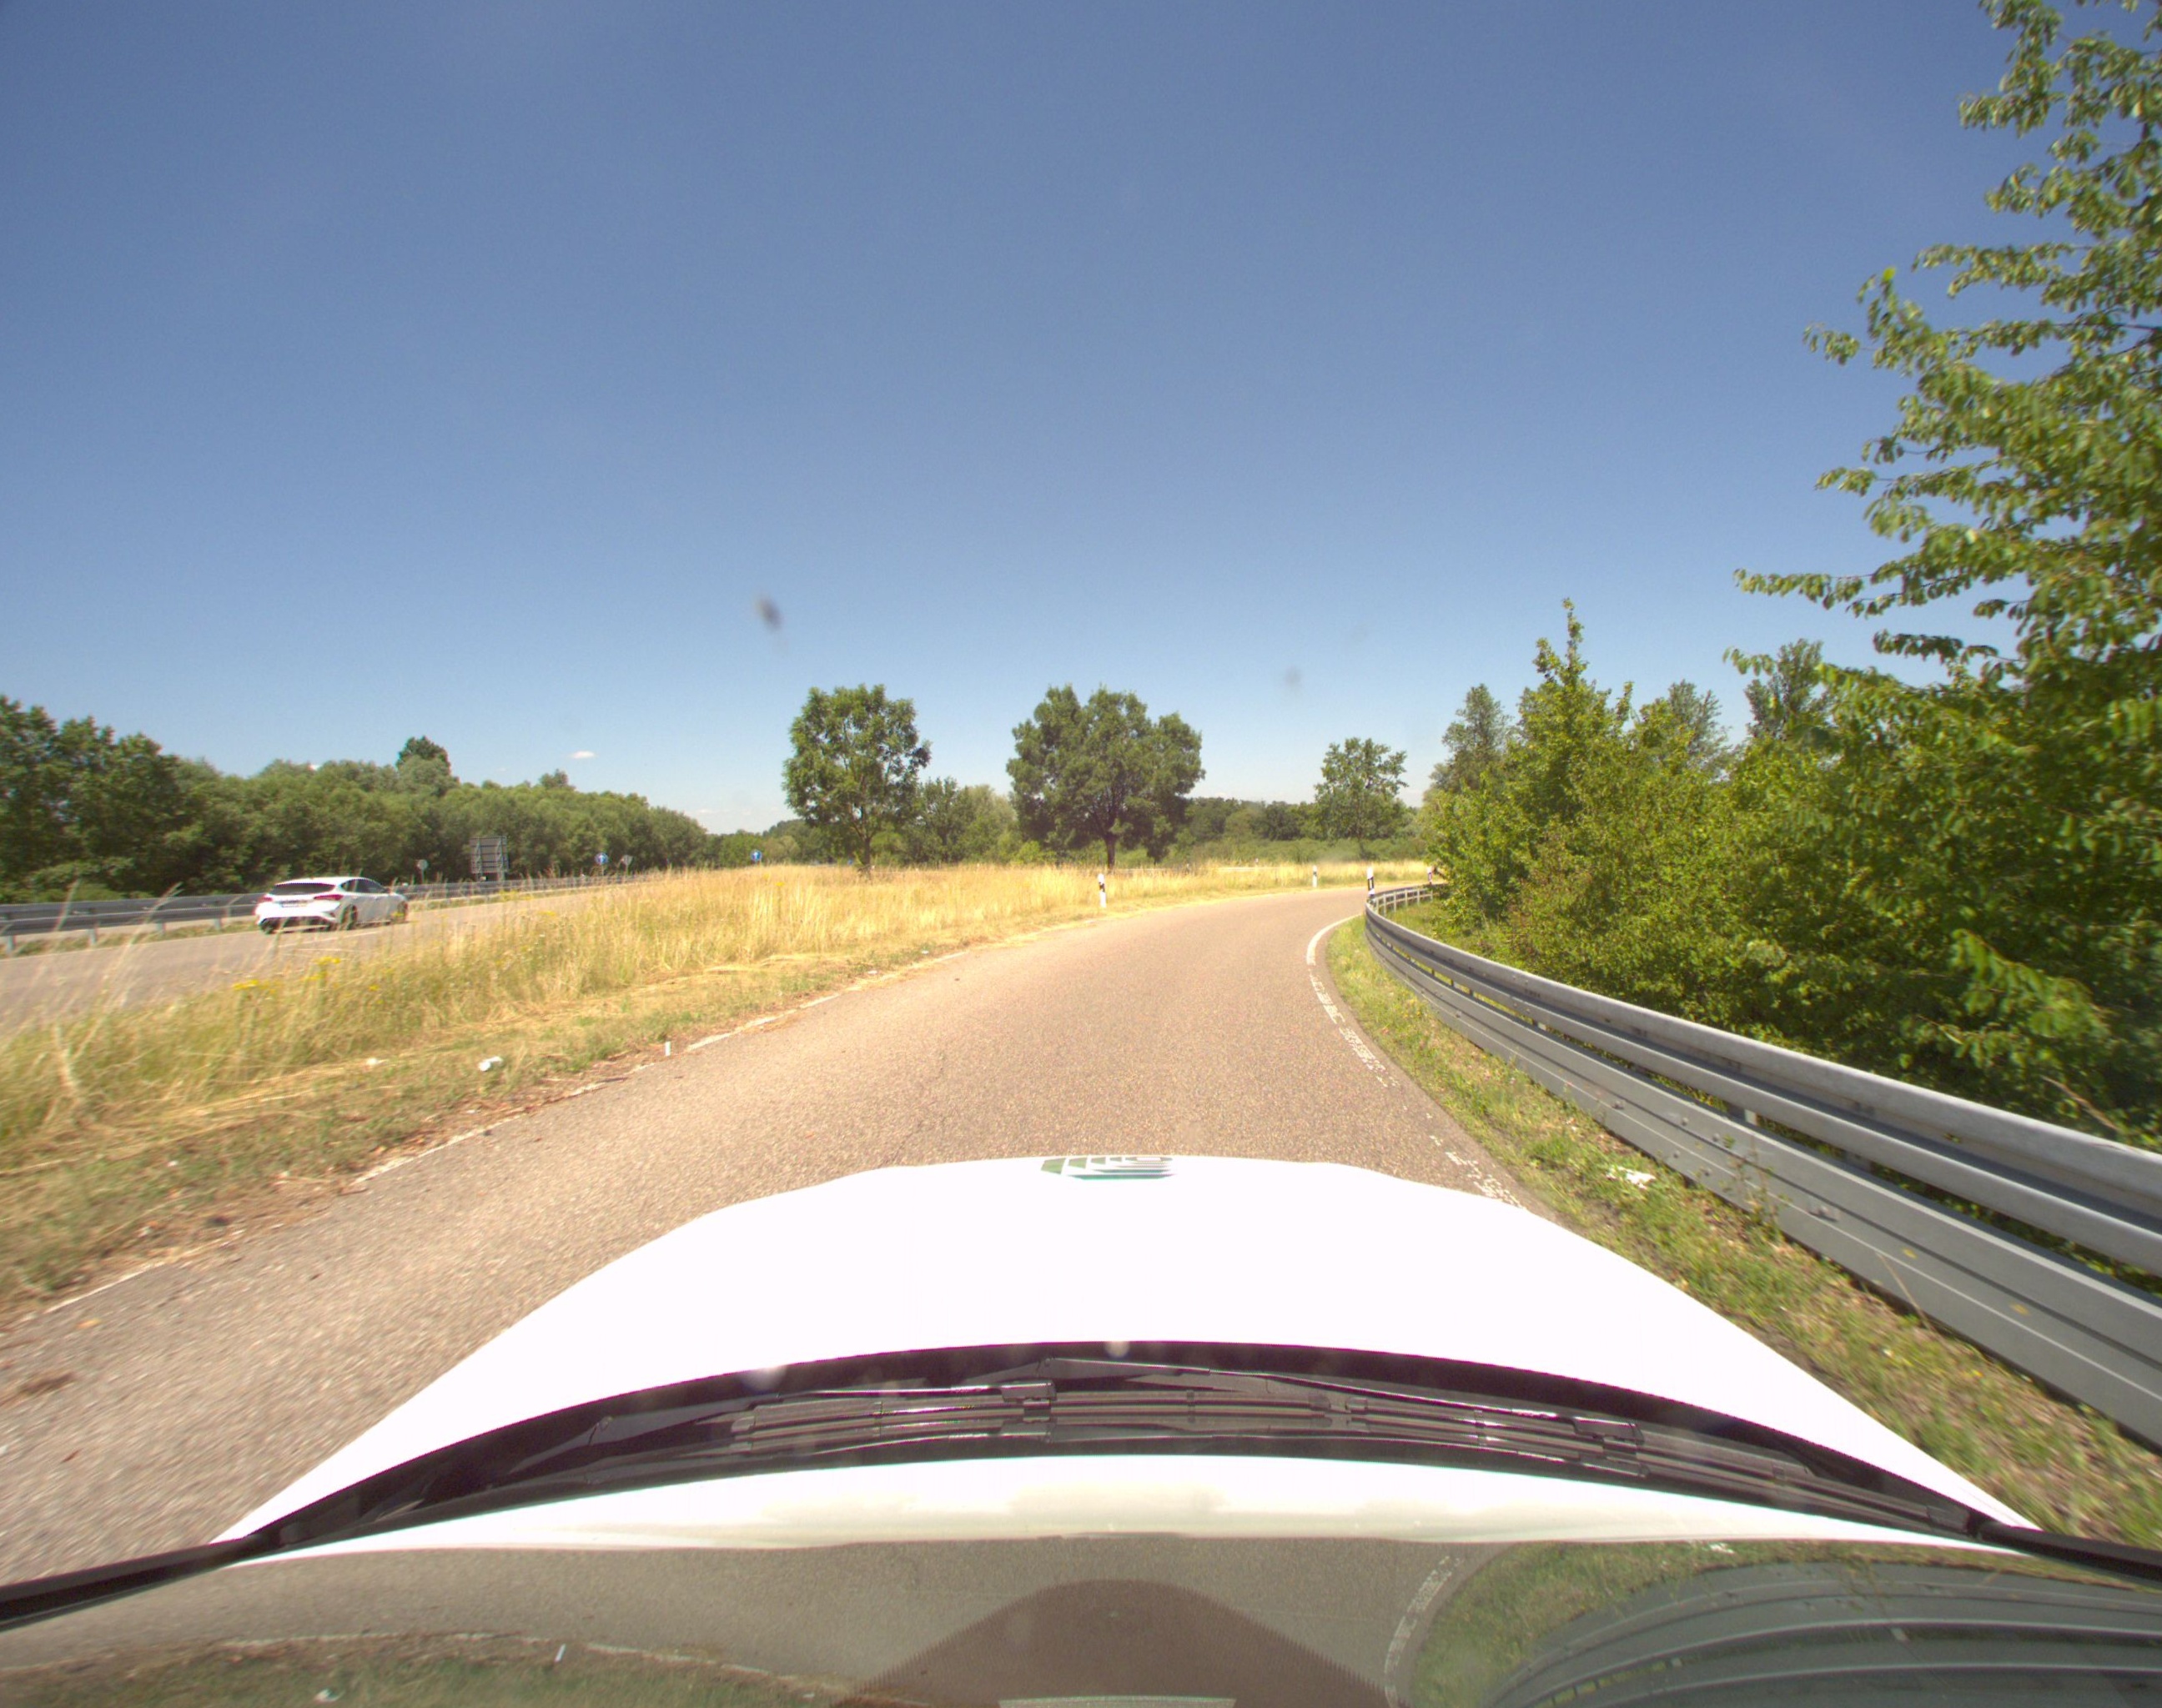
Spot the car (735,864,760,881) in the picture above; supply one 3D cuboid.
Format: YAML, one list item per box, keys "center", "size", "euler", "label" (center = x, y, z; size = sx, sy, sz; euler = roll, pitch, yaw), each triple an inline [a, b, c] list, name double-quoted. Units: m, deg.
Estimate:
- center: [-35.250, 1.916, 86.095]
  size: [2.040, 1.673, 3.977]
  euler: [0, -1, -17]
  label: "car"
